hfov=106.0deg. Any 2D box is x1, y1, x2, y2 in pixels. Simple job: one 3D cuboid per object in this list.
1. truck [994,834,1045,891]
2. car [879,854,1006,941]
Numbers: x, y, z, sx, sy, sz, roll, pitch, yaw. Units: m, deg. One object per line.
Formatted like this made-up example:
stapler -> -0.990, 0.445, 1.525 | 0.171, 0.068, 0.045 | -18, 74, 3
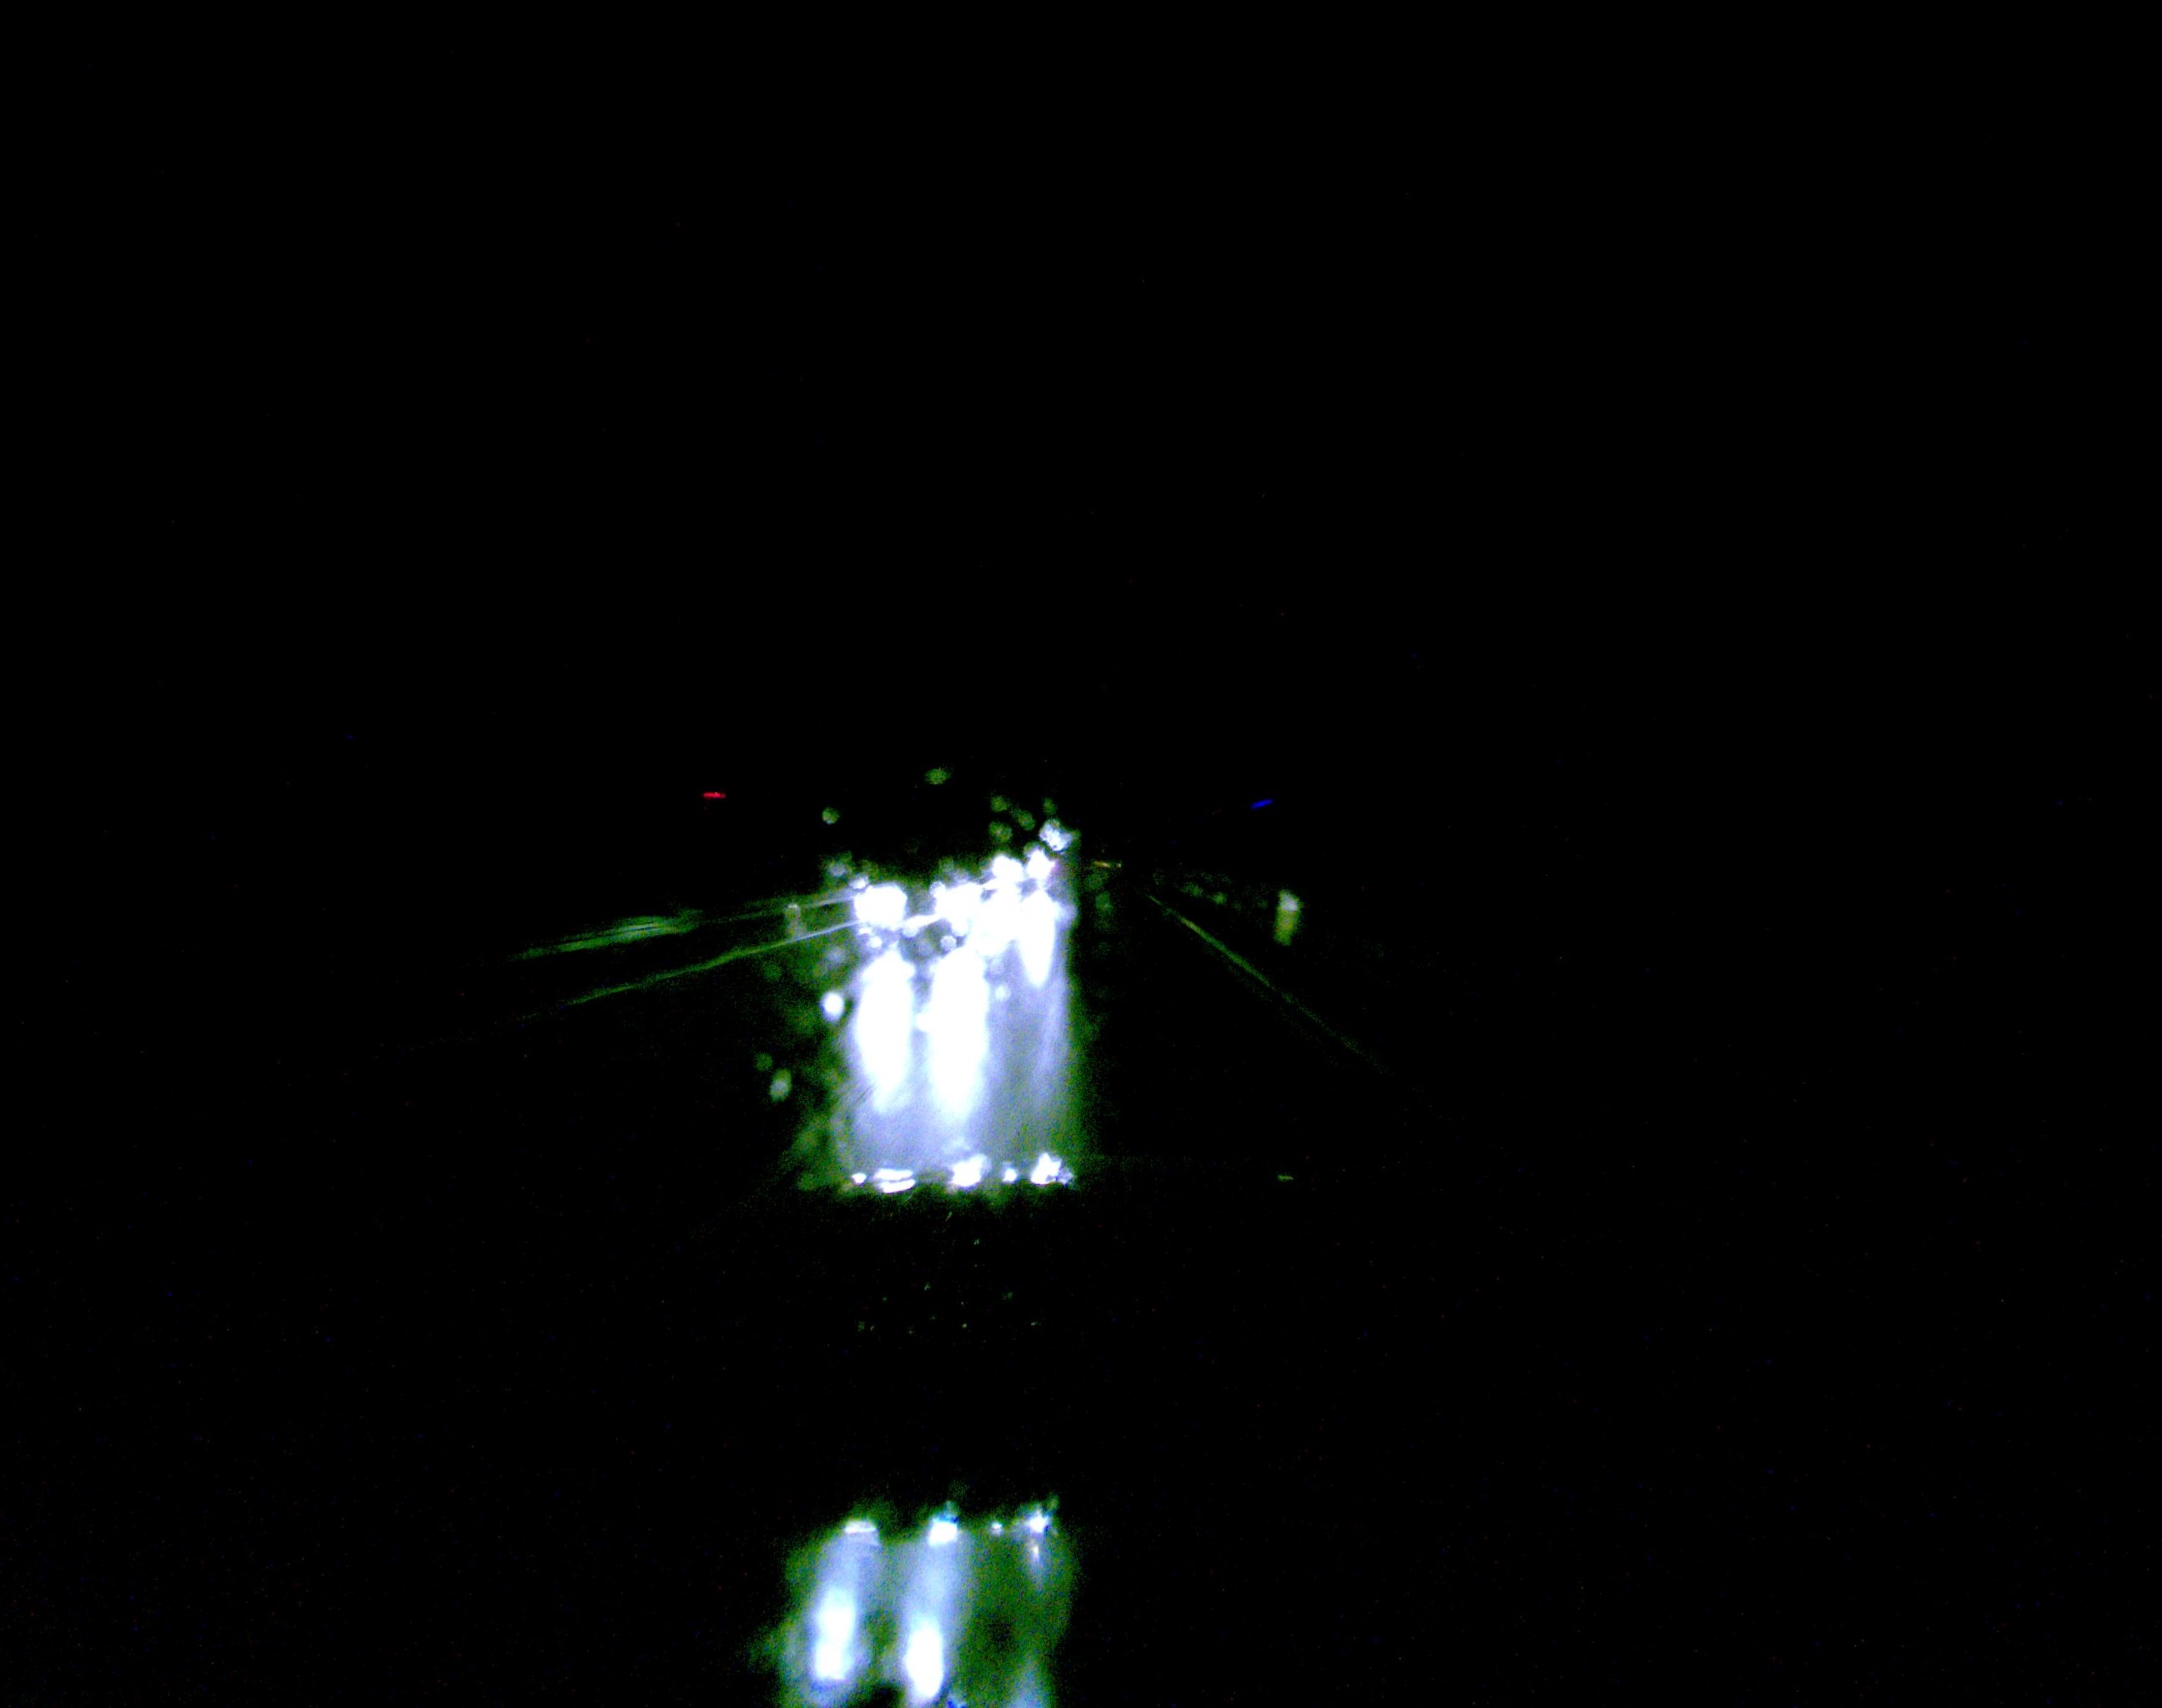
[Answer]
truck -> -2.870, 0.392, 39.296 | 2.131, 2.535, 5.277 | 0, 0, -1
car -> -2.735, 0.790, 16.965 | 1.878, 1.576, 4.050 | 0, 0, 1
